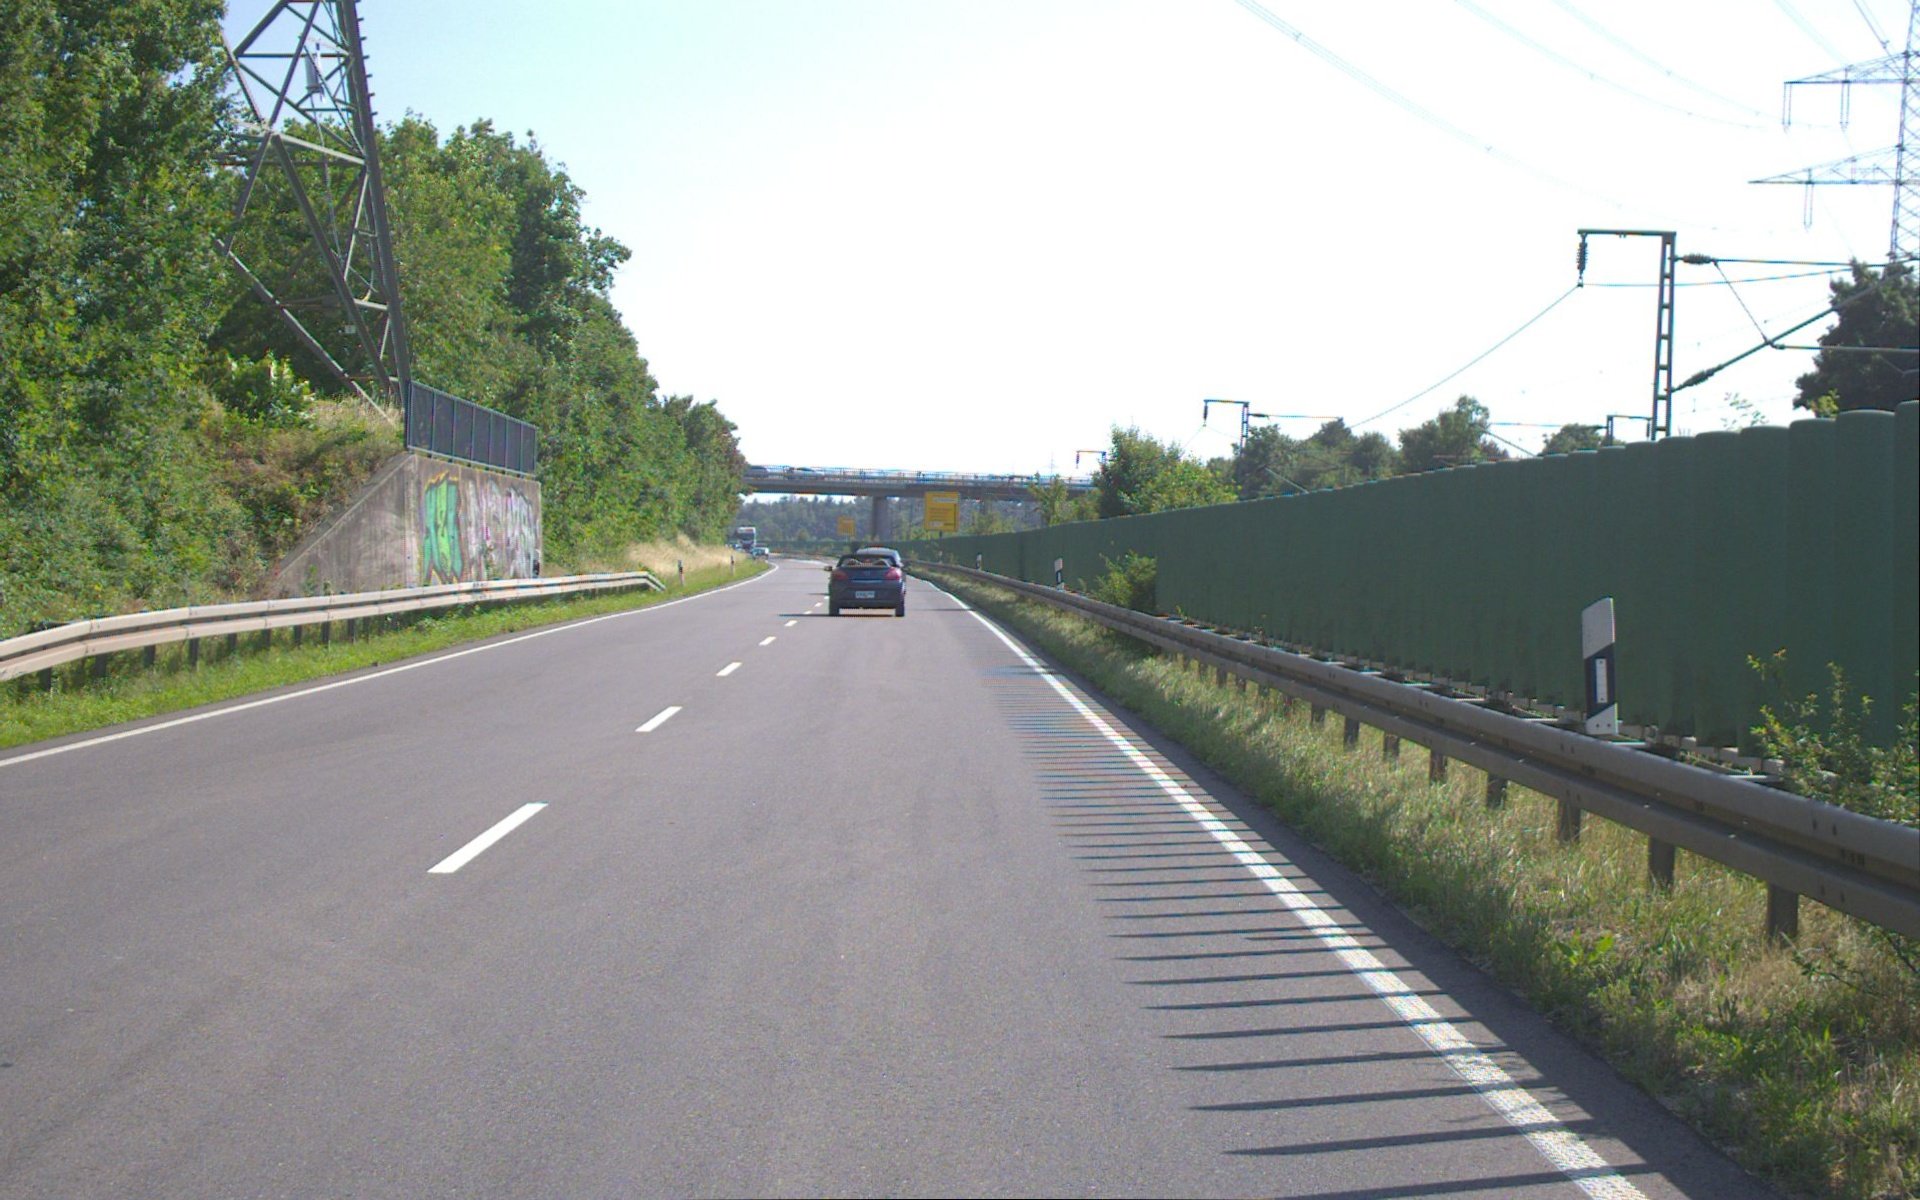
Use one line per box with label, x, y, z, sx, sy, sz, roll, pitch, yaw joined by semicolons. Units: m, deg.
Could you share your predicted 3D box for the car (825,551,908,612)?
car;-2.057;-0.415;74.977;1.663;1.257;4.001;1;1;-3
